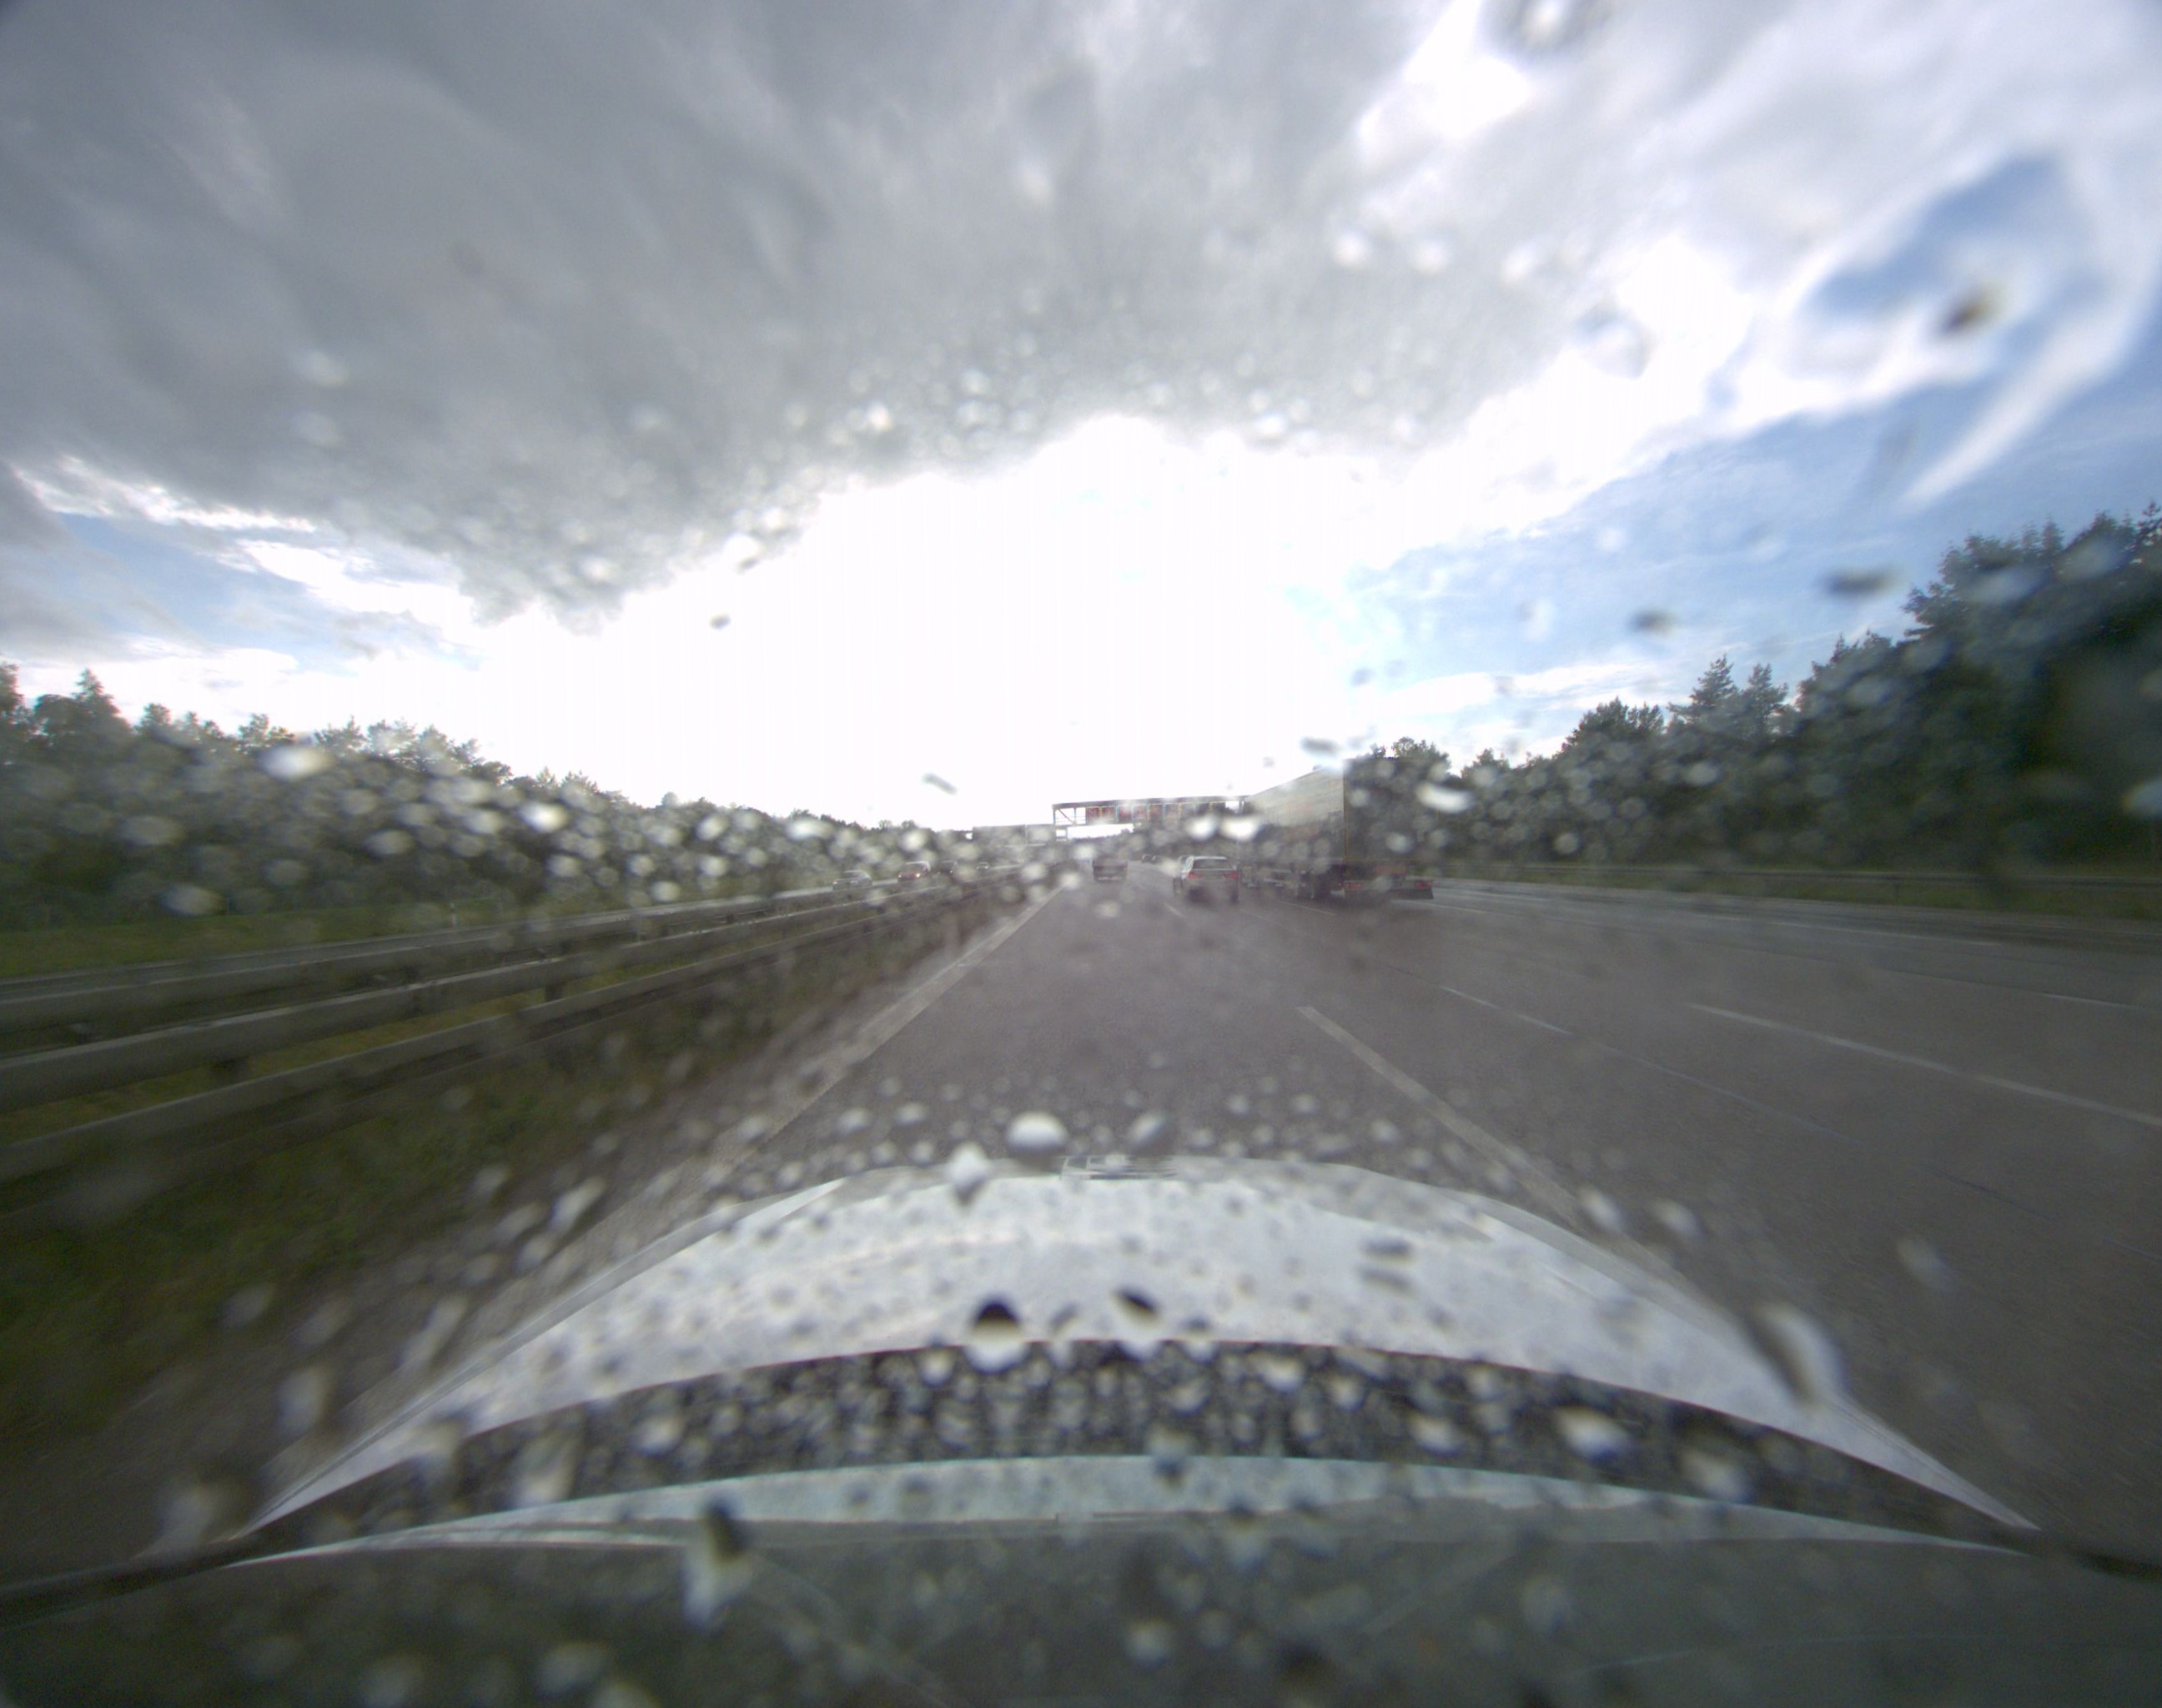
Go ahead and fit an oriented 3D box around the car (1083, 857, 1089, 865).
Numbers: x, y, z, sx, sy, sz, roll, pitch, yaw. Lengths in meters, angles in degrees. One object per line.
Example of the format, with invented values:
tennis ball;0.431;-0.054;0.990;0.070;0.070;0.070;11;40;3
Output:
car;1.338;1.710;210.468;1.611;2.013;4.000;0;0;1

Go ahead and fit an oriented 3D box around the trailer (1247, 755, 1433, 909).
trailer;8.186;-0.581;28.119;2.315;4.001;13.414;-1;0;1

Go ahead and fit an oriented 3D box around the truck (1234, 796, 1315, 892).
truck;8.334;-0.403;35.668;2.285;3.868;5.393;-1;0;1

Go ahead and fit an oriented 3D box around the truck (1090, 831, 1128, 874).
truck;1.772;-0.092;50.207;2.128;2.489;5.318;-1;0;3

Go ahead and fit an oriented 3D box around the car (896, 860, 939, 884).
car;-11.559;1.251;57.857;1.986;1.609;4.610;-1;0;1

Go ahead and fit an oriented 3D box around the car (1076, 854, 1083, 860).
car;-0.445;0.906;257.179;1.787;2.013;4.003;0;0;2

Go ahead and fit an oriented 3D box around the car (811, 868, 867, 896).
car;-15.479;1.770;52.373;1.986;1.500;4.610;-4;0;1

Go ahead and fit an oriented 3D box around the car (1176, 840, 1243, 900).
car;4.366;0.507;28.291;2.067;1.885;5.021;-1;0;7

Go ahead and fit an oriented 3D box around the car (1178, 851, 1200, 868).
car;9.507;0.489;71.935;1.822;1.466;4.006;-1;0;5

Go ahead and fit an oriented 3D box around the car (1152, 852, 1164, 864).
car;13.641;0.699;144.470;1.984;2.013;4.005;0;0;4

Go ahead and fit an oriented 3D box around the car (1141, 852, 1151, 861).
car;13.494;0.533;169.691;1.735;1.688;4.001;-1;0;1

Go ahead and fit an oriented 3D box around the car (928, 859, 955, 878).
car;-15.735;1.658;91.806;1.987;1.917;4.725;-4;0;1
